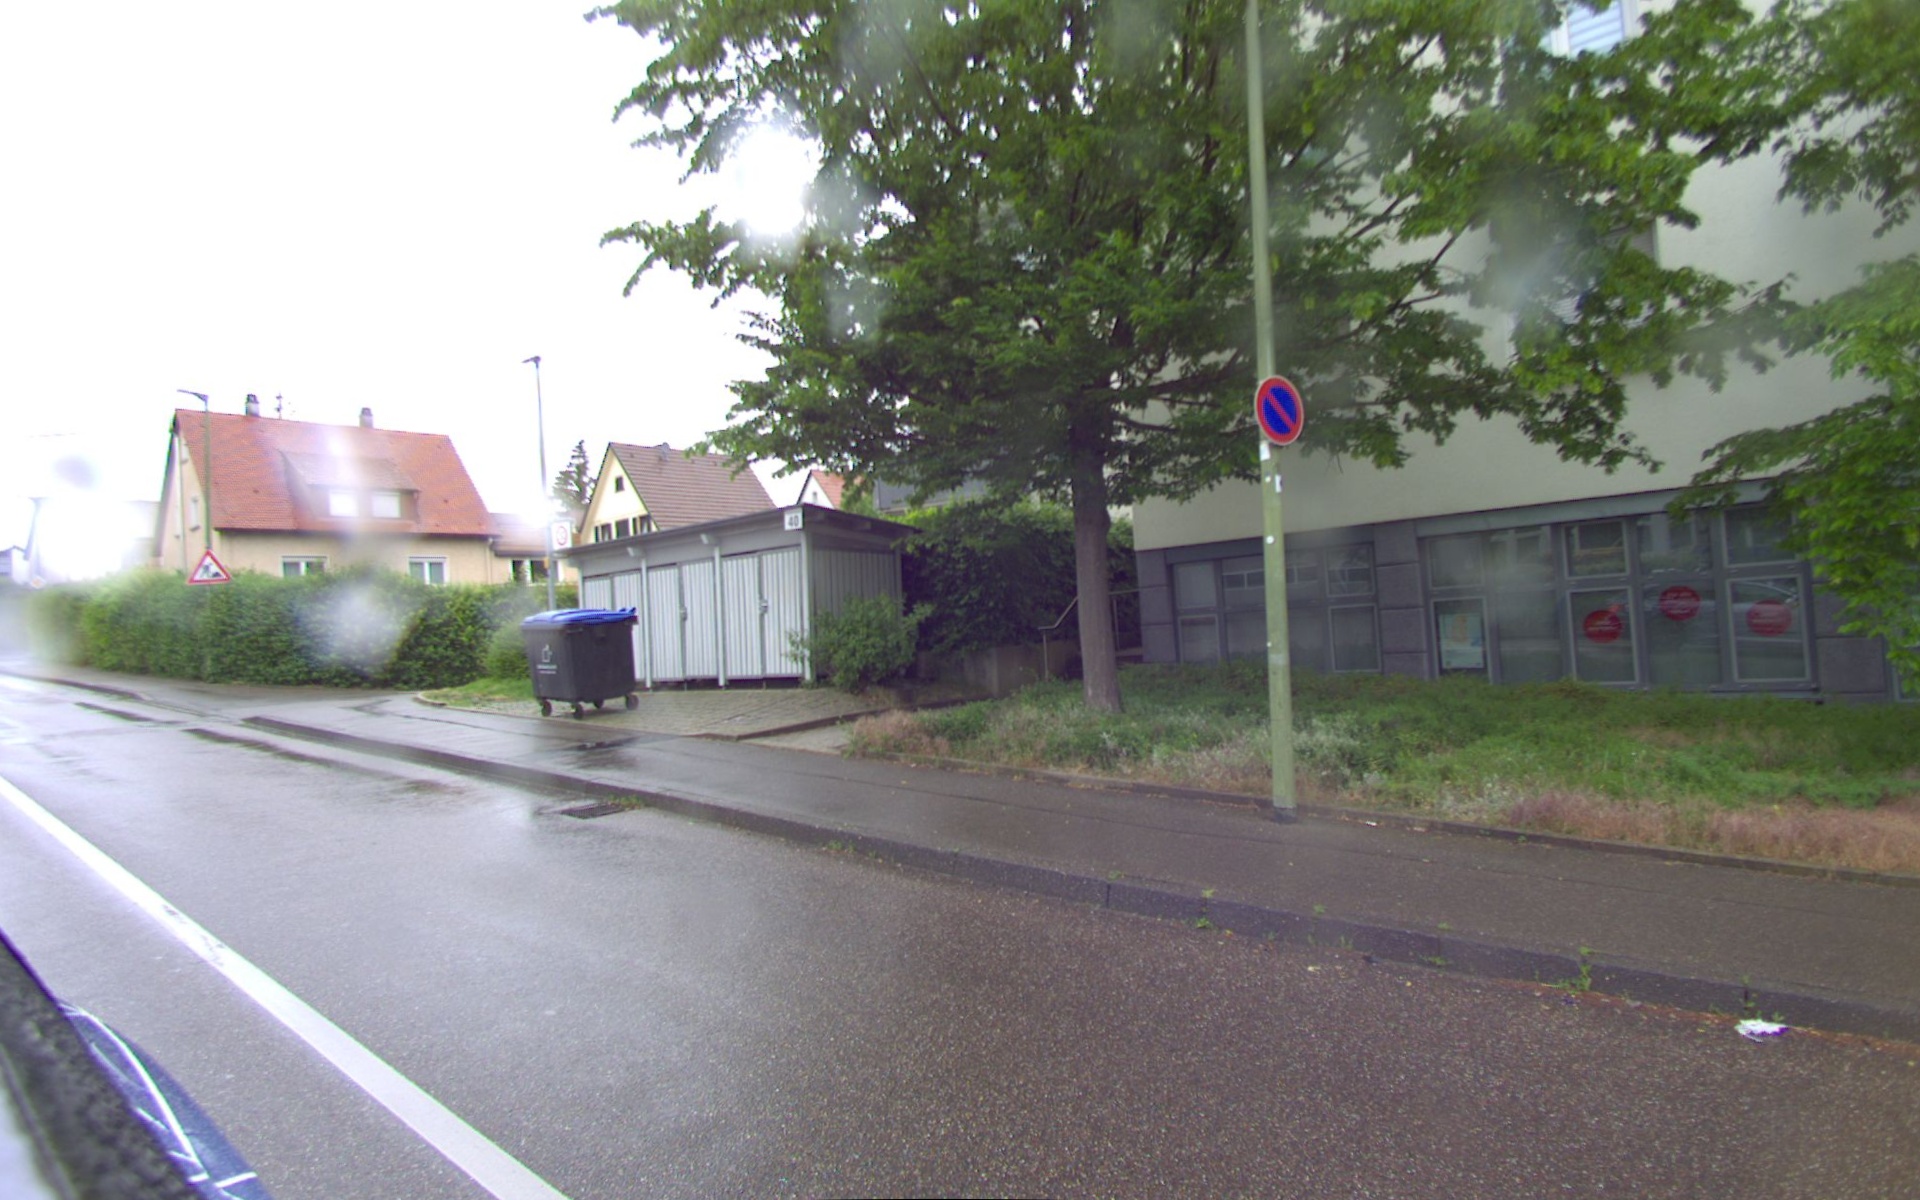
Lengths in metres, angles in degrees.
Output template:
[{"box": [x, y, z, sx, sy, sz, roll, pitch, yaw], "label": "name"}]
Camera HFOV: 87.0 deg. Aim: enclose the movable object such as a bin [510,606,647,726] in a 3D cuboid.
[{"box": [-4.766, 0.806, 12.654, 1.201, 1.306, 1.043, -3, 3, 41], "label": "movable object such as a bin"}]
